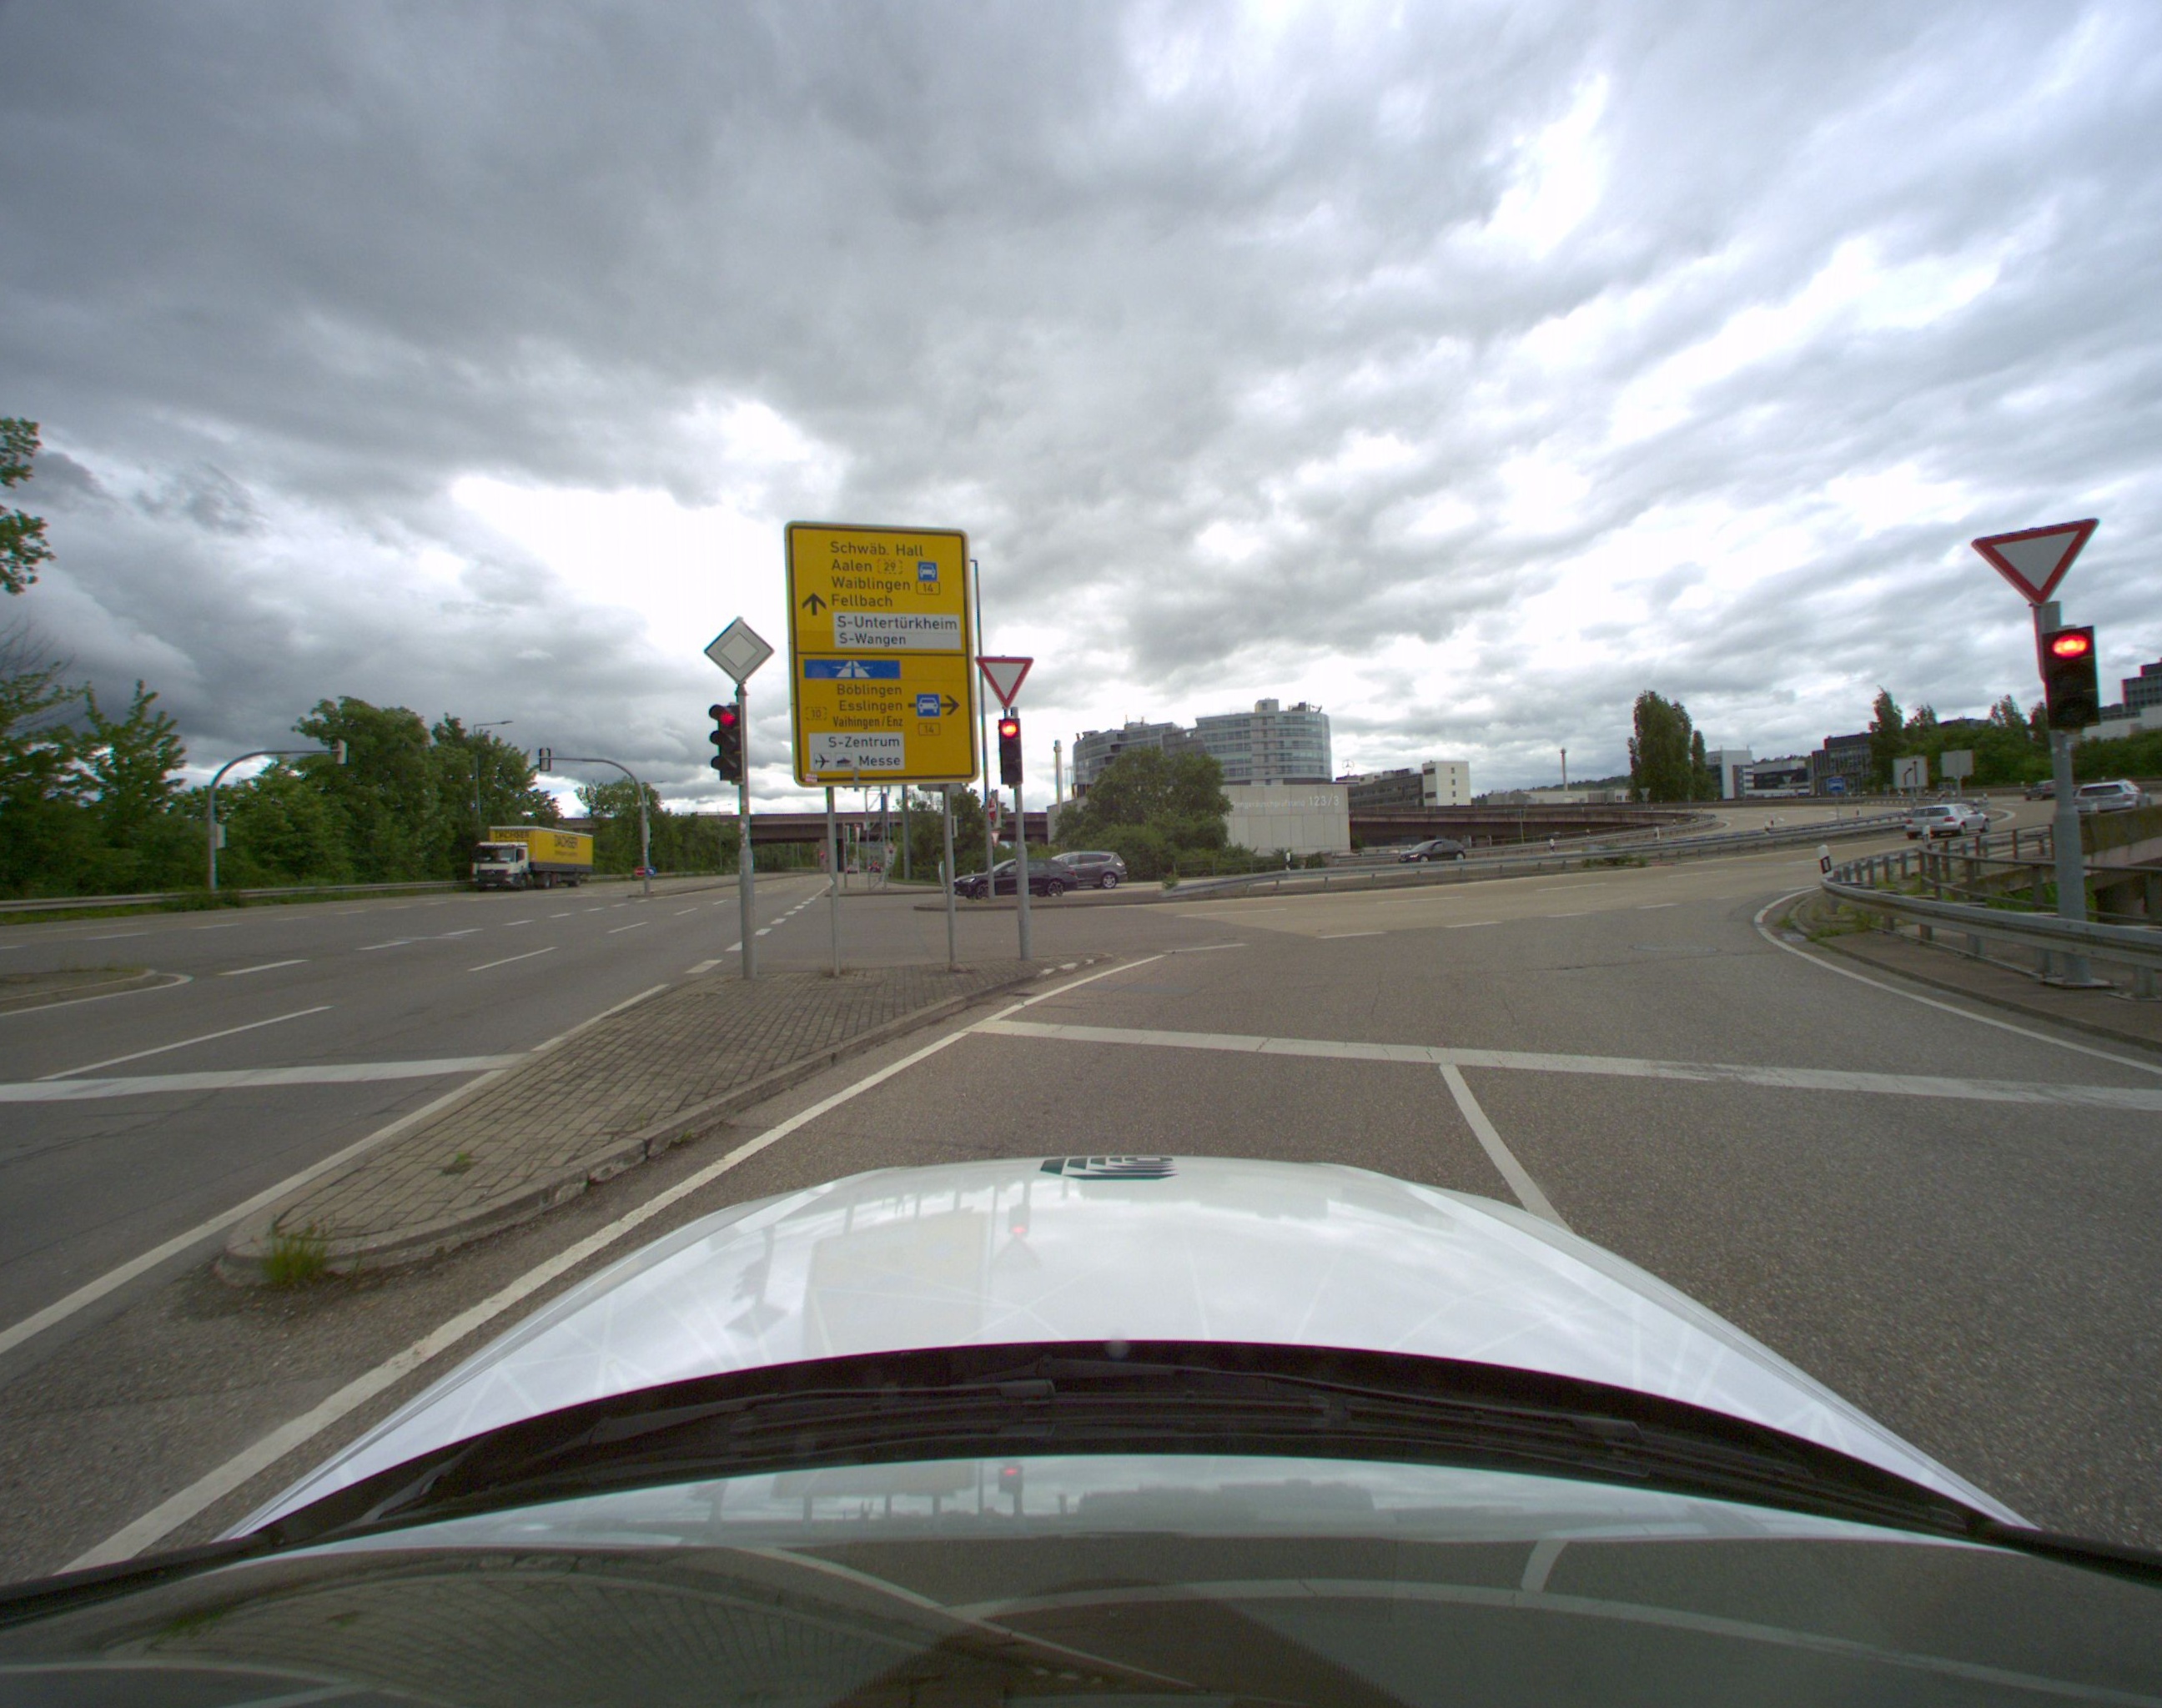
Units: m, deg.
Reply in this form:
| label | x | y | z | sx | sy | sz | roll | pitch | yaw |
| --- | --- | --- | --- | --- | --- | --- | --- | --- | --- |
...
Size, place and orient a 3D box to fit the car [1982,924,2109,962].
| label | x | y | z | sx | sy | sz | roll | pitch | yaw |
| --- | --- | --- | --- | --- | --- | --- | --- | --- | --- |
| car | 48.149 | 4.404 | 40.730 | 1.832 | 1.354 | 3.827 | -3 | 1 | -29 |

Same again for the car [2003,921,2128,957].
| label | x | y | z | sx | sy | sz | roll | pitch | yaw |
| --- | --- | --- | --- | --- | --- | --- | --- | --- | --- |
| car | 50.305 | 4.316 | 41.683 | 1.832 | 1.354 | 3.827 | -3 | 1 | -29 |

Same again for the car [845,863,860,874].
| label | x | y | z | sx | sy | sz | roll | pitch | yaw |
| --- | --- | --- | --- | --- | --- | --- | --- | --- | --- |
| car | -34.515 | 2.184 | 122.936 | 1.996 | 1.442 | 4.089 | 0 | -2 | -14 |

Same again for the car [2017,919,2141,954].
| label | x | y | z | sx | sy | sz | roll | pitch | yaw |
| --- | --- | --- | --- | --- | --- | --- | --- | --- | --- |
| car | 52.191 | 4.269 | 42.663 | 1.832 | 1.354 | 3.827 | -3 | 1 | -29 |

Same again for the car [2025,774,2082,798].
| label | x | y | z | sx | sy | sz | roll | pitch | yaw |
| --- | --- | --- | --- | --- | --- | --- | --- | --- | --- |
| car | 74.760 | -5.206 | 62.646 | 1.707 | 1.461 | 4.271 | -4 | -1 | 35 |

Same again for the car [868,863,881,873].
| label | x | y | z | sx | sy | sz | roll | pitch | yaw |
| --- | --- | --- | --- | --- | --- | --- | --- | --- | --- |
| car | -32.954 | 2.173 | 129.888 | 1.997 | 1.464 | 4.088 | 0 | -2 | -15 |

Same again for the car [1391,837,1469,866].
| label | x | y | z | sx | sy | sz | roll | pitch | yaw |
| --- | --- | --- | --- | --- | --- | --- | --- | --- | --- |
| car | 20.727 | -0.165 | 48.393 | 3.991 | 1.421 | 1.904 | -4 | 1 | -17 |

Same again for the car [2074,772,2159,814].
| label | x | y | z | sx | sy | sz | roll | pitch | yaw |
| --- | --- | --- | --- | --- | --- | --- | --- | --- | --- |
| car | 47.431 | -2.751 | 37.295 | 4.569 | 1.737 | 1.714 | -2 | 0 | -29 |

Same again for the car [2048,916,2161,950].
| label | x | y | z | sx | sy | sz | roll | pitch | yaw |
| --- | --- | --- | --- | --- | --- | --- | --- | --- | --- |
| car | 54.890 | 4.185 | 43.554 | 1.832 | 1.354 | 3.827 | -3 | 1 | -29 |

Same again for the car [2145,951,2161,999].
| label | x | y | z | sx | sy | sz | roll | pitch | yaw |
| --- | --- | --- | --- | --- | --- | --- | --- | --- | --- |
| car | 41.739 | 4.454 | 30.272 | 4.006 | 1.534 | 1.812 | -3 | 1 | -25 |

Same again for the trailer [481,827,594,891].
| label | x | y | z | sx | sy | sz | roll | pitch | yaw |
| --- | --- | --- | --- | --- | --- | --- | --- | --- | --- |
| trailer | -38.084 | 0.321 | 57.671 | 2.876 | 4.084 | 11.372 | 1 | 0 | -14 |

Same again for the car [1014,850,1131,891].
| label | x | y | z | sx | sy | sz | roll | pitch | yaw |
| --- | --- | --- | --- | --- | --- | --- | --- | --- | --- |
| car | -0.398 | 0.674 | 35.205 | 4.691 | 1.571 | 1.944 | -1 | 1 | -18 |

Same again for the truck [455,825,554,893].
| label | x | y | z | sx | sy | sz | roll | pitch | yaw |
| --- | --- | --- | --- | --- | --- | --- | --- | --- | --- |
| truck | -36.768 | 0.311 | 52.203 | 2.875 | 4.084 | 6.458 | 1 | 0 | -13 |

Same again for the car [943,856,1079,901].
| label | x | y | z | sx | sy | sz | roll | pitch | yaw |
| --- | --- | --- | --- | --- | --- | --- | --- | --- | --- |
| car | -2.578 | 0.850 | 29.941 | 4.625 | 1.457 | 1.941 | -1 | 1 | -23 |

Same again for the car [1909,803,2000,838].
| label | x | y | z | sx | sy | sz | roll | pitch | yaw |
| --- | --- | --- | --- | --- | --- | --- | --- | --- | --- |
| car | 38.472 | -1.475 | 35.862 | 4.076 | 1.400 | 1.714 | -2 | 0 | -28 |
